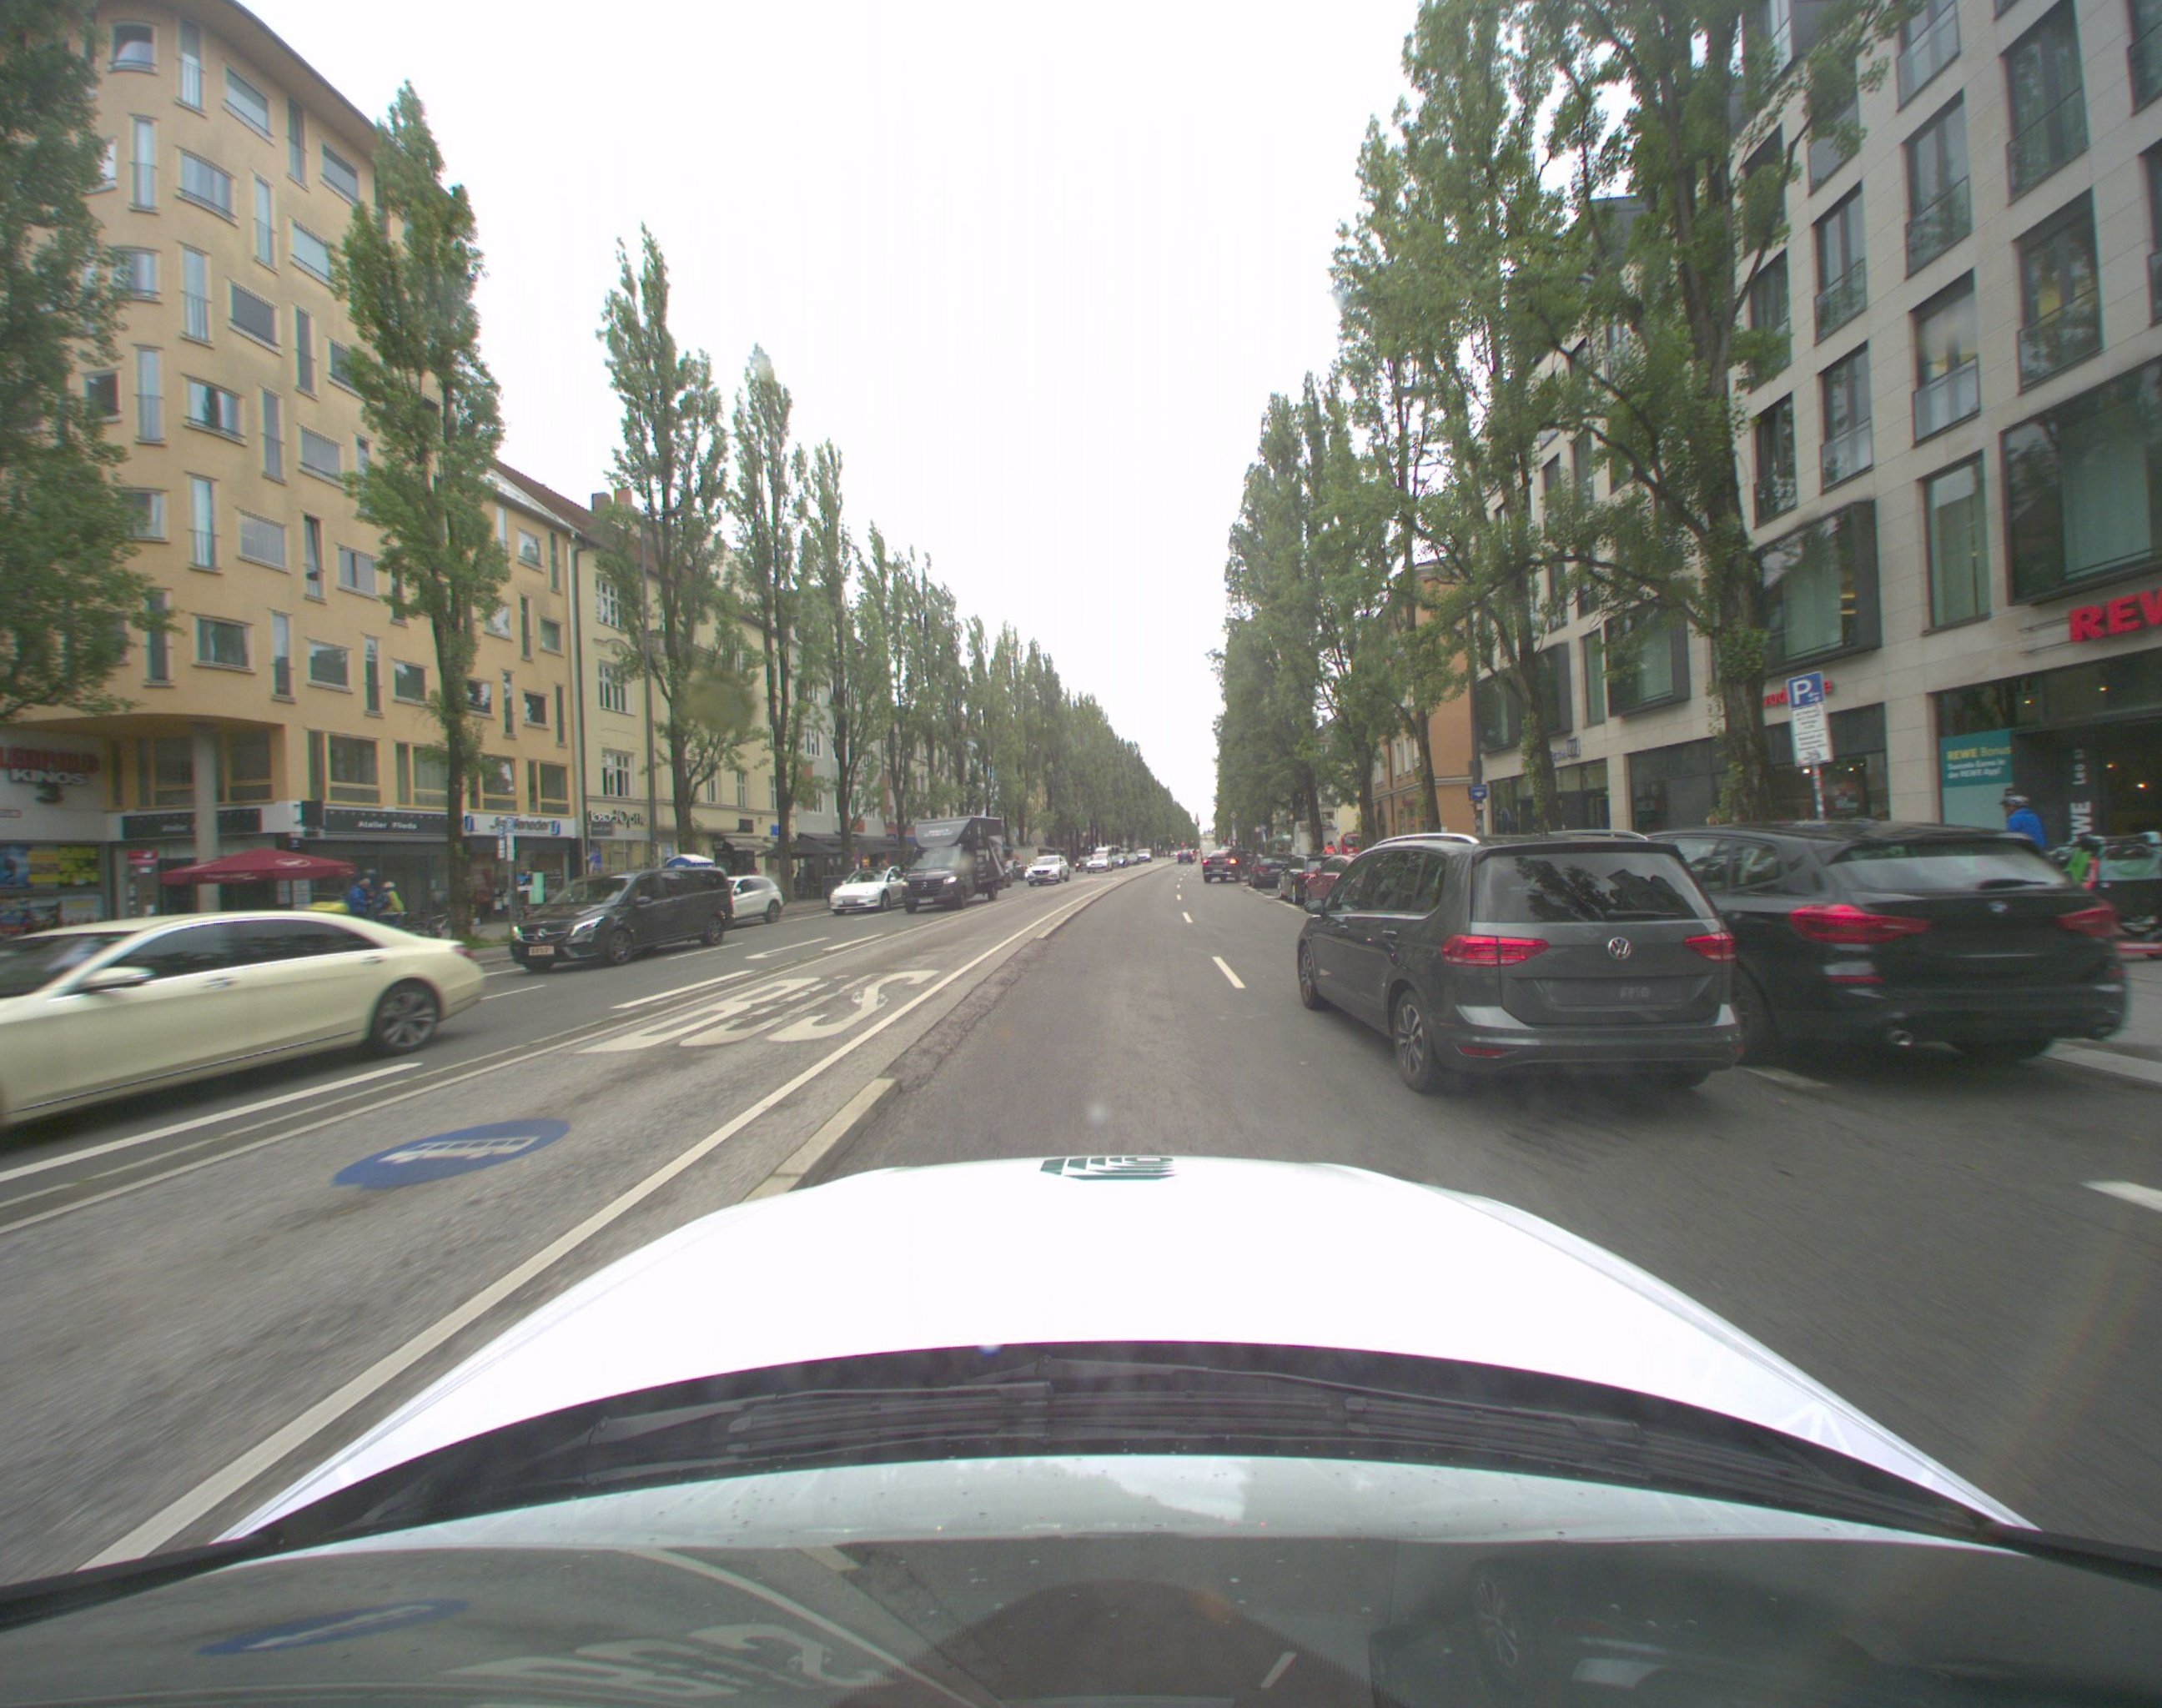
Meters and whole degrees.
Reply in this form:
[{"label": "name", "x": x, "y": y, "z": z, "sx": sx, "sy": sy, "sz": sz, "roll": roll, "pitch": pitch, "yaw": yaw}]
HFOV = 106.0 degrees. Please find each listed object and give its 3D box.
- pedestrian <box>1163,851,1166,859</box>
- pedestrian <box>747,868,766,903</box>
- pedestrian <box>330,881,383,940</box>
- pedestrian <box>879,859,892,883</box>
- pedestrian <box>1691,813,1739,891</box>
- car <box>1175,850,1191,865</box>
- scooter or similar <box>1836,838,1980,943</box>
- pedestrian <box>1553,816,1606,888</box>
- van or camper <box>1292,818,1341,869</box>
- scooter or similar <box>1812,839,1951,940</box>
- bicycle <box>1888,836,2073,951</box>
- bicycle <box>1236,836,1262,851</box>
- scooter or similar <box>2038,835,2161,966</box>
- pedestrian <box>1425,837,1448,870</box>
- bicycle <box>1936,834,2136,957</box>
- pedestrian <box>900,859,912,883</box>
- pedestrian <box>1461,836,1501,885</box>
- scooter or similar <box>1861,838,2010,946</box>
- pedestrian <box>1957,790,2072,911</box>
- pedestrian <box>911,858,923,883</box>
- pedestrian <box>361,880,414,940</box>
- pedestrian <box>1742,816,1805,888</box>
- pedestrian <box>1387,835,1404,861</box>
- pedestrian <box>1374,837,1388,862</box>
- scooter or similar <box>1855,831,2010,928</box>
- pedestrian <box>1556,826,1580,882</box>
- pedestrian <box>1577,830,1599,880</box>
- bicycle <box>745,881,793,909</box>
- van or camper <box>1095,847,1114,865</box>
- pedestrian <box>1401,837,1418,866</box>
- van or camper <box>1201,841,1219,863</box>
[{"label": "pedestrian", "x": 18.843, "y": 0.177, "z": 184.629, "sx": 0.550, "sy": 1.716, "sz": 0.494, "roll": -3, "pitch": 0, "yaw": 9}, {"label": "pedestrian", "x": -16.590, "y": 1.598, "z": 41.589, "sx": 0.536, "sy": 1.747, "sz": 0.757, "roll": -2, "pitch": 0, "yaw": 8}, {"label": "pedestrian", "x": -20.565, "y": 1.592, "z": 23.128, "sx": 0.835, "sy": 1.625, "sz": 0.765, "roll": -1, "pitch": -1, "yaw": 6}, {"label": "pedestrian", "x": -14.150, "y": 1.250, "z": 58.801, "sx": 0.634, "sy": 1.700, "sz": 0.649, "roll": -3, "pitch": 0, "yaw": 8}, {"label": "pedestrian", "x": 14.891, "y": -0.044, "z": 19.144, "sx": 0.786, "sy": 1.772, "sz": 0.686, "roll": -3, "pitch": 0, "yaw": 37}, {"label": "car", "x": 11.780, "y": 0.399, "z": 93.854, "sx": 1.749, "sy": 1.619, "sz": 3.756, "roll": -1, "pitch": -1, "yaw": 8}, {"label": "scooter or similar", "x": 10.244, "y": 0.442, "z": 10.101, "sx": 1.430, "sy": 1.201, "sz": 0.311, "roll": -3, "pitch": 0, "yaw": -1}, {"label": "pedestrian", "x": 13.572, "y": -0.056, "z": 22.203, "sx": 0.813, "sy": 1.869, "sz": 0.940, "roll": -4, "pitch": 0, "yaw": 5}, {"label": "van or camper", "x": 15.544, "y": -0.671, "z": 54.085, "sx": 2.445, "sy": 3.112, "sz": 4.728, "roll": -3, "pitch": 0, "yaw": 9}, {"label": "scooter or similar", "x": 10.254, "y": 0.447, "z": 10.439, "sx": 1.430, "sy": 1.201, "sz": 0.311, "roll": -3, "pitch": 0, "yaw": -1}, {"label": "bicycle", "x": 10.270, "y": 0.440, "z": 9.329, "sx": 1.473, "sy": 1.207, "sz": 0.536, "roll": -3, "pitch": 0, "yaw": 0}, {"label": "bicycle", "x": 23.755, "y": -1.462, "z": 115.240, "sx": 3.521, "sy": 2.014, "sz": 1.303, "roll": -1, "pitch": -1, "yaw": 17}, {"label": "scooter or similar", "x": 10.319, "y": 0.447, "z": 8.115, "sx": 1.047, "sy": 1.226, "sz": 0.380, "roll": -3, "pitch": 0, "yaw": 0}, {"label": "pedestrian", "x": 17.187, "y": -0.038, "z": 39.391, "sx": 0.606, "sy": 1.551, "sz": 0.710, "roll": -4, "pitch": 0, "yaw": -19}, {"label": "bicycle", "x": 10.260, "y": 0.432, "z": 8.775, "sx": 1.473, "sy": 1.207, "sz": 0.536, "roll": -3, "pitch": 0, "yaw": 0}, {"label": "pedestrian", "x": -13.777, "y": 1.316, "z": 64.242, "sx": 0.634, "sy": 1.862, "sz": 0.649, "roll": -3, "pitch": 0, "yaw": 8}, {"label": "pedestrian", "x": 13.337, "y": 0.213, "z": 27.183, "sx": 0.831, "sy": 1.576, "sz": 0.938, "roll": -3, "pitch": 0, "yaw": 1}, {"label": "scooter or similar", "x": 10.251, "y": 0.445, "z": 9.782, "sx": 1.430, "sy": 1.201, "sz": 0.311, "roll": -3, "pitch": 0, "yaw": -1}, {"label": "pedestrian", "x": 13.186, "y": -0.042, "z": 11.528, "sx": 0.609, "sy": 1.619, "sz": 0.793, "roll": -4, "pitch": 0, "yaw": -3}, {"label": "pedestrian", "x": -12.973, "y": 1.298, "z": 64.296, "sx": 0.634, "sy": 1.862, "sz": 0.649, "roll": -3, "pitch": 0, "yaw": 8}, {"label": "pedestrian", "x": -19.655, "y": 1.571, "z": 23.076, "sx": 0.835, "sy": 1.625, "sz": 0.765, "roll": -1, "pitch": -1, "yaw": 6}, {"label": "pedestrian", "x": 16.091, "y": -0.046, "z": 18.938, "sx": 0.790, "sy": 1.621, "sz": 0.719, "roll": -3, "pitch": 0, "yaw": 5}, {"label": "pedestrian", "x": 20.364, "y": -0.381, "z": 52.753, "sx": 0.815, "sy": 1.613, "sz": 0.781, "roll": -3, "pitch": 0, "yaw": 11}, {"label": "pedestrian", "x": 19.545, "y": -0.291, "z": 53.099, "sx": 0.668, "sy": 1.613, "sz": 0.642, "roll": -3, "pitch": 0, "yaw": 11}, {"label": "scooter or similar", "x": 11.529, "y": 0.338, "z": 11.058, "sx": 1.377, "sy": 1.211, "sz": 0.555, "roll": -3, "pitch": 0, "yaw": 6}, {"label": "pedestrian", "x": 14.619, "y": 0.007, "z": 24.452, "sx": 0.544, "sy": 1.638, "sz": 0.562, "roll": -3, "pitch": 0, "yaw": 33}, {"label": "pedestrian", "x": 15.353, "y": 0.027, "z": 24.661, "sx": 0.497, "sy": 1.491, "sz": 0.551, "roll": -3, "pitch": 0, "yaw": 33}, {"label": "bicycle", "x": -13.638, "y": 1.781, "z": 35.564, "sx": 2.107, "sy": 1.101, "sz": 0.508, "roll": -4, "pitch": 0, "yaw": 21}, {"label": "van or camper", "x": 3.295, "y": 0.272, "z": 112.419, "sx": 1.982, "sy": 2.458, "sz": 4.261, "roll": -3, "pitch": 0, "yaw": 9}, {"label": "pedestrian", "x": 18.798, "y": -0.147, "z": 46.611, "sx": 0.724, "sy": 1.626, "sz": 0.809, "roll": -3, "pitch": 0, "yaw": 18}, {"label": "van or camper", "x": 15.833, "y": -0.201, "z": 99.715, "sx": 2.023, "sy": 2.475, "sz": 4.009, "roll": -3, "pitch": -2, "yaw": 8}]
